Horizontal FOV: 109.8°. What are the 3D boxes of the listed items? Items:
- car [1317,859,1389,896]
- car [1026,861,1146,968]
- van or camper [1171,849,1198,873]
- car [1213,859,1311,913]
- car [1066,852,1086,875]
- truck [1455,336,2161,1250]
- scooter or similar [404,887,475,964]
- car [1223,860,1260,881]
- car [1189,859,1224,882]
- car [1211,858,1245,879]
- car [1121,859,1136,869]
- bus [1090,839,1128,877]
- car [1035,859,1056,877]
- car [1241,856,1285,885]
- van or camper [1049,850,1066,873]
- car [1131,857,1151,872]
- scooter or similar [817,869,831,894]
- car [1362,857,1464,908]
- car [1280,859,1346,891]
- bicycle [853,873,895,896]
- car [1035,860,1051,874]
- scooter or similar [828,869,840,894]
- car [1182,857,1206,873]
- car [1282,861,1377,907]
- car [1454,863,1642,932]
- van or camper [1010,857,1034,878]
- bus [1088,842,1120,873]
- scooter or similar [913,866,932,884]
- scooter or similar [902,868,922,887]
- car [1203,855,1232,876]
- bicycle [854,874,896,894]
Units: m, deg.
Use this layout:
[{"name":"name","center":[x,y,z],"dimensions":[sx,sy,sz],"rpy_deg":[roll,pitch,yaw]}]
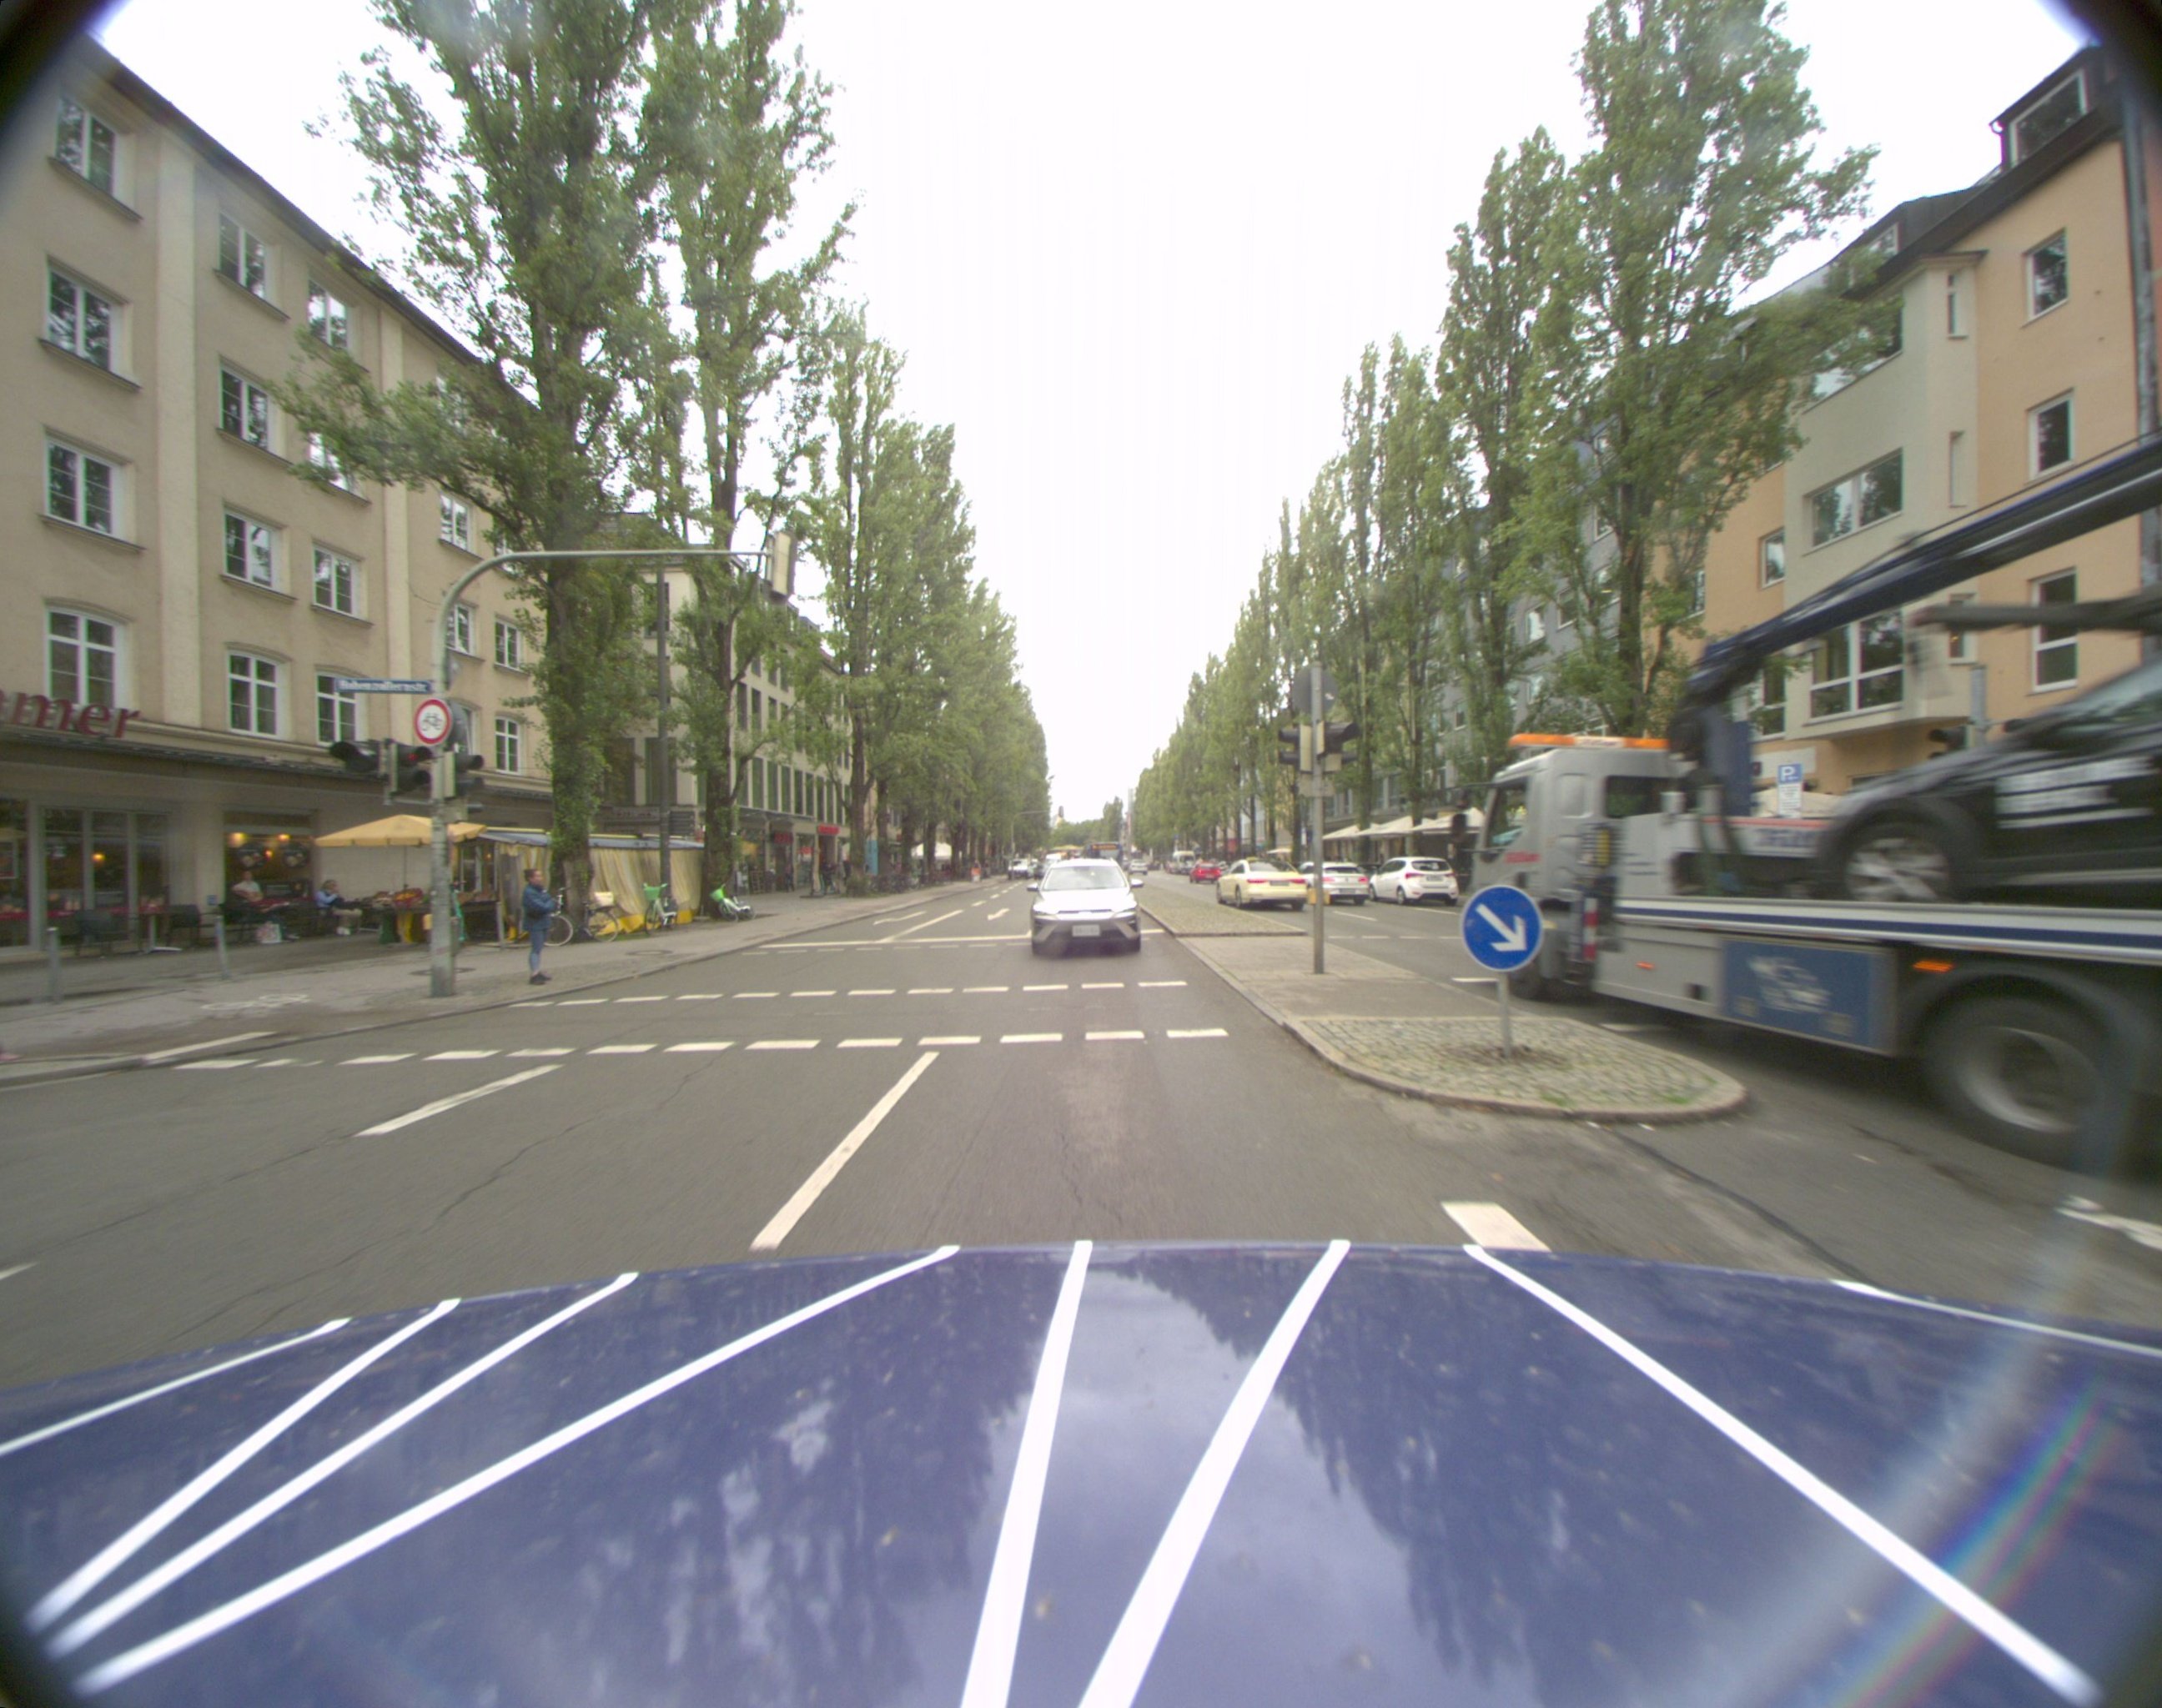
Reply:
[{"name":"car","center":[11.223,0.940,31.653],"dimensions":[1.497,1.373,4.186],"rpy_deg":[0,0,0]},{"name":"car","center":[0.062,0.933,13.509],"dimensions":[1.758,1.529,3.916],"rpy_deg":[-2,0,0]},{"name":"van or camper","center":[11.510,0.773,85.105],"dimensions":[2.131,2.535,6.644],"rpy_deg":[-1,0,1]},{"name":"car","center":[5.426,0.897,23.480],"dimensions":[1.848,1.493,4.986],"rpy_deg":[0,0,0]},{"name":"car","center":[-0.503,0.984,80.833],"dimensions":[2.025,2.235,4.411],"rpy_deg":[-2,0,0]},{"name":"truck","center":[5.558,-0.255,4.562],"dimensions":[2.469,3.649,8.439],"rpy_deg":[-1,0,0]},{"name":"scooter or similar","center":[-11.330,1.237,13.468],"dimensions":[0.408,1.236,1.370],"rpy_deg":[-1,0,-16]},{"name":"car","center":[11.336,1.144,53.898],"dimensions":[1.662,1.409,4.400],"rpy_deg":[0,0,-1]},{"name":"car","center":[8.344,1.067,50.799],"dimensions":[1.741,1.429,3.823],"rpy_deg":[0,0,0]},{"name":"car","center":[11.383,1.098,59.123],"dimensions":[1.707,1.438,4.585],"rpy_deg":[-1,0,0]},{"name":"car","center":[6.690,1.433,106.279],"dimensions":[1.841,1.353,4.176],"rpy_deg":[1,0,0]},{"name":"bus","center":[2.244,0.335,65.695],"dimensions":[2.806,2.886,12.857],"rpy_deg":[-1,0,0]},{"name":"car","center":[-3.246,1.262,69.755],"dimensions":[1.758,1.529,3.916],"rpy_deg":[-2,0,0]},{"name":"car","center":[11.435,0.991,47.931],"dimensions":[1.784,1.670,4.586],"rpy_deg":[0,0,1]},{"name":"van or camper","center":[-2.939,0.924,96.672],"dimensions":[1.998,2.472,6.639],"rpy_deg":[-1,3,0]},{"name":"car","center":[6.540,1.166,83.457],"dimensions":[1.848,1.626,4.575],"rpy_deg":[0,0,1]},{"name":"scooter or similar","center":[-13.009,1.389,38.542],"dimensions":[0.331,1.266,1.036],"rpy_deg":[-1,0,0]},{"name":"car","center":[11.222,0.902,25.987],"dimensions":[1.707,1.574,4.096],"rpy_deg":[0,0,0]},{"name":"car","center":[11.123,0.956,36.666],"dimensions":[1.708,1.404,4.433],"rpy_deg":[0,0,-2]},{"name":"bicycle","center":[-10.407,1.518,38.173],"dimensions":[2.005,1.077,0.286],"rpy_deg":[-1,0,-8]},{"name":"car","center":[-3.915,1.357,78.852],"dimensions":[1.476,1.388,3.483],"rpy_deg":[-1,0,1]},{"name":"scooter or similar","center":[-12.528,1.389,38.532],"dimensions":[0.248,1.266,1.036],"rpy_deg":[-1,0,0]},{"name":"car","center":[11.621,1.127,78.413],"dimensions":[1.707,1.520,4.260],"rpy_deg":[0,0,-2]},{"name":"car","center":[8.571,0.985,26.698],"dimensions":[1.827,1.399,4.632],"rpy_deg":[0,0,0]},{"name":"car","center":[11.185,0.966,18.665],"dimensions":[1.707,1.430,4.589],"rpy_deg":[0,0,-1]},{"name":"van or camper","center":[-5.551,1.246,72.217],"dimensions":[1.795,1.894,4.566],"rpy_deg":[-2,0,1]},{"name":"bus","center":[2.203,0.390,78.563],"dimensions":[2.806,2.886,12.857],"rpy_deg":[-1,0,0]},{"name":"scooter or similar","center":[-10.571,1.394,50.639],"dimensions":[0.285,1.162,1.246],"rpy_deg":[-2,1,42]},{"name":"scooter or similar","center":[-10.588,1.491,47.668],"dimensions":[1.241,1.163,0.404],"rpy_deg":[-1,1,29]},{"name":"car","center":[11.605,0.986,64.742],"dimensions":[1.622,1.677,3.770],"rpy_deg":[1,0,-2]},{"name":"bicycle","center":[-10.444,1.518,38.505],"dimensions":[2.005,0.939,0.286],"rpy_deg":[-1,0,-8]}]
